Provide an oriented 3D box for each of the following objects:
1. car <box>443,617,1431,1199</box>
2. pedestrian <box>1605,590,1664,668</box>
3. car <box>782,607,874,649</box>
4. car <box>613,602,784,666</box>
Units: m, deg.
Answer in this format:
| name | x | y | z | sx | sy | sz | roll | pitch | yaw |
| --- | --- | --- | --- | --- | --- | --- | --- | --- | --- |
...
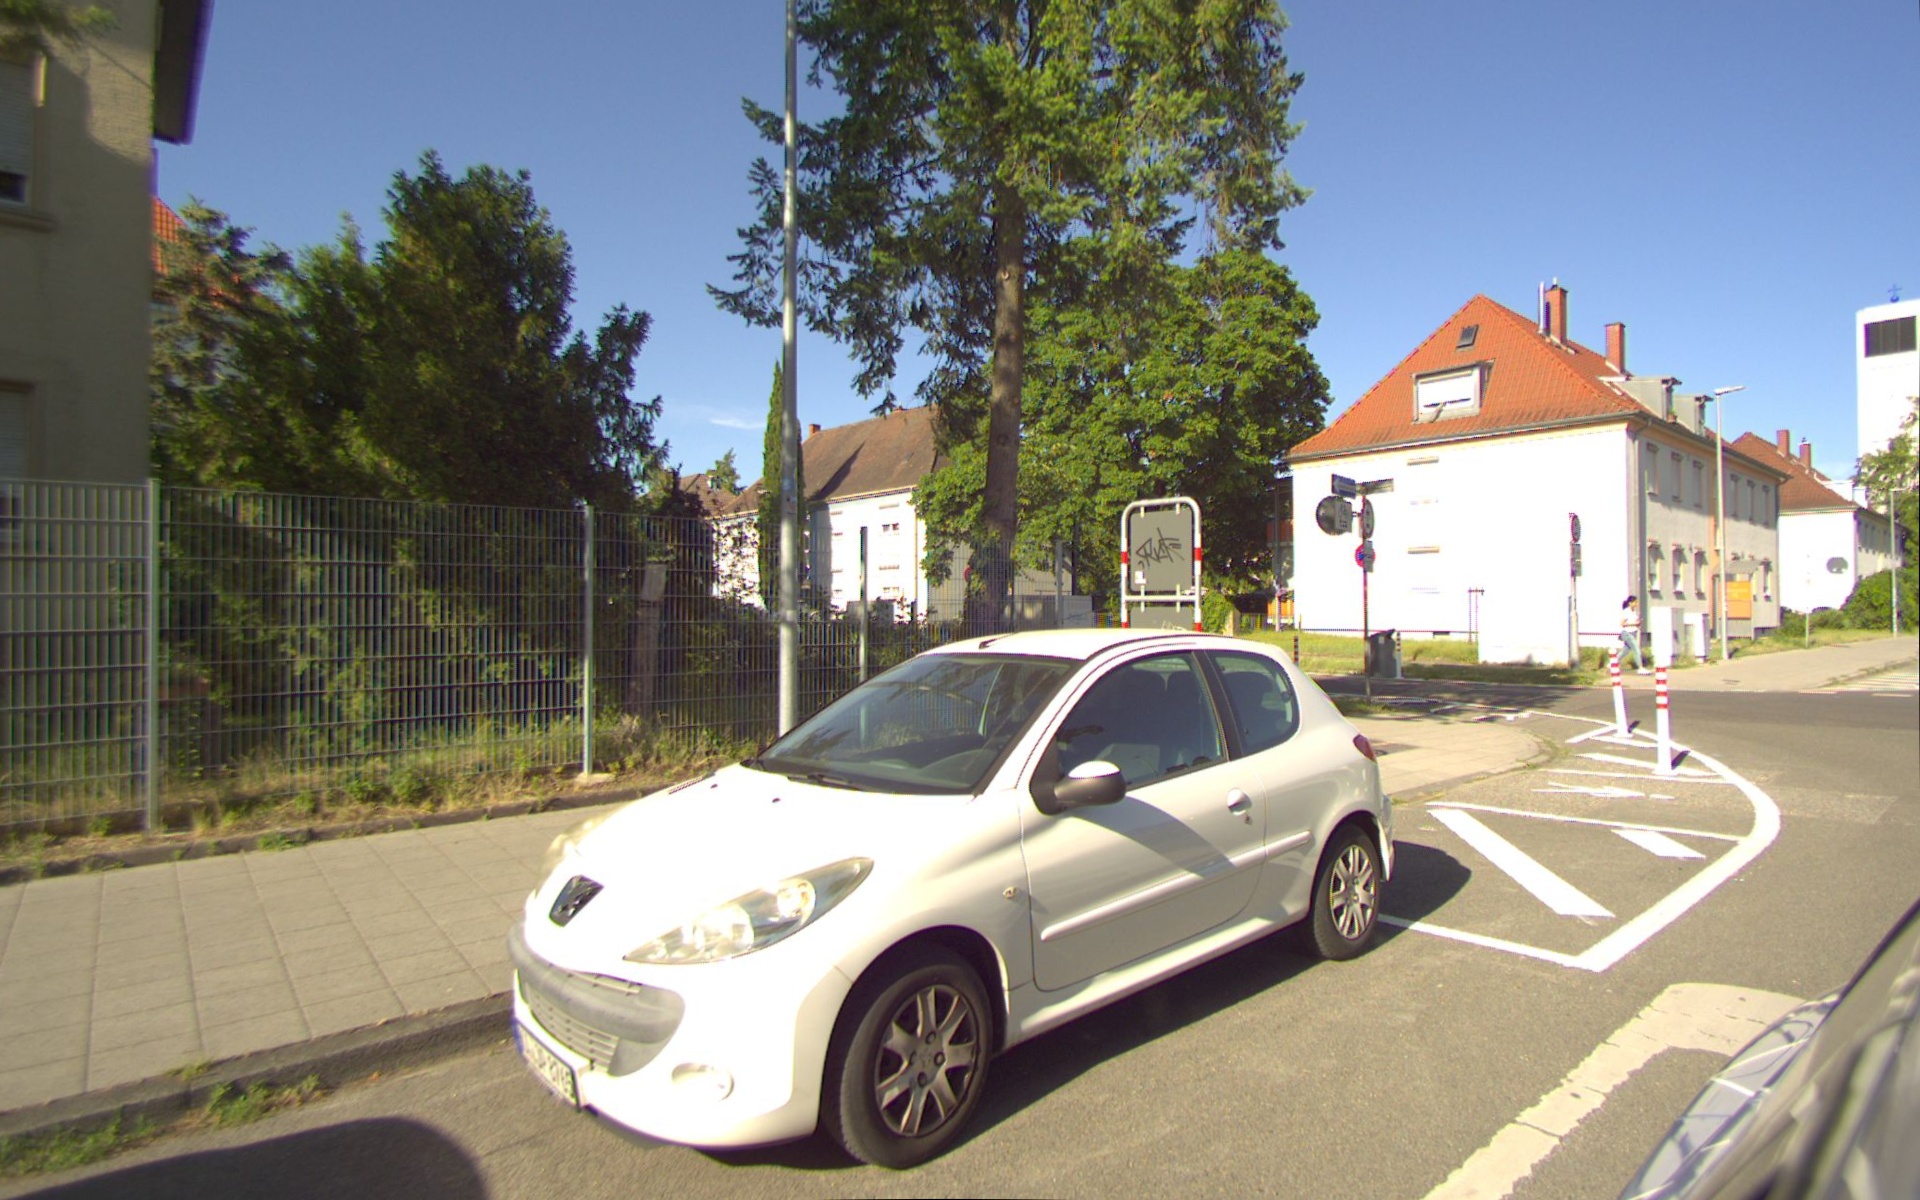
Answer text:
| name | x | y | z | sx | sy | sz | roll | pitch | yaw |
| --- | --- | --- | --- | --- | --- | --- | --- | --- | --- |
| car | 0.183 | 0.810 | 4.030 | 3.711 | 1.416 | 1.703 | 0 | -2 | -41 |
| pedestrian | 14.552 | 0.616 | 21.847 | 0.754 | 1.631 | 0.834 | 0 | -1 | -36 |
| car | -5.118 | 1.031 | 38.883 | 1.709 | 1.498 | 3.717 | 0 | 0 | -43 |
| car | -7.020 | 0.890 | 27.419 | 4.136 | 1.584 | 1.837 | 1 | -2 | -44 |
